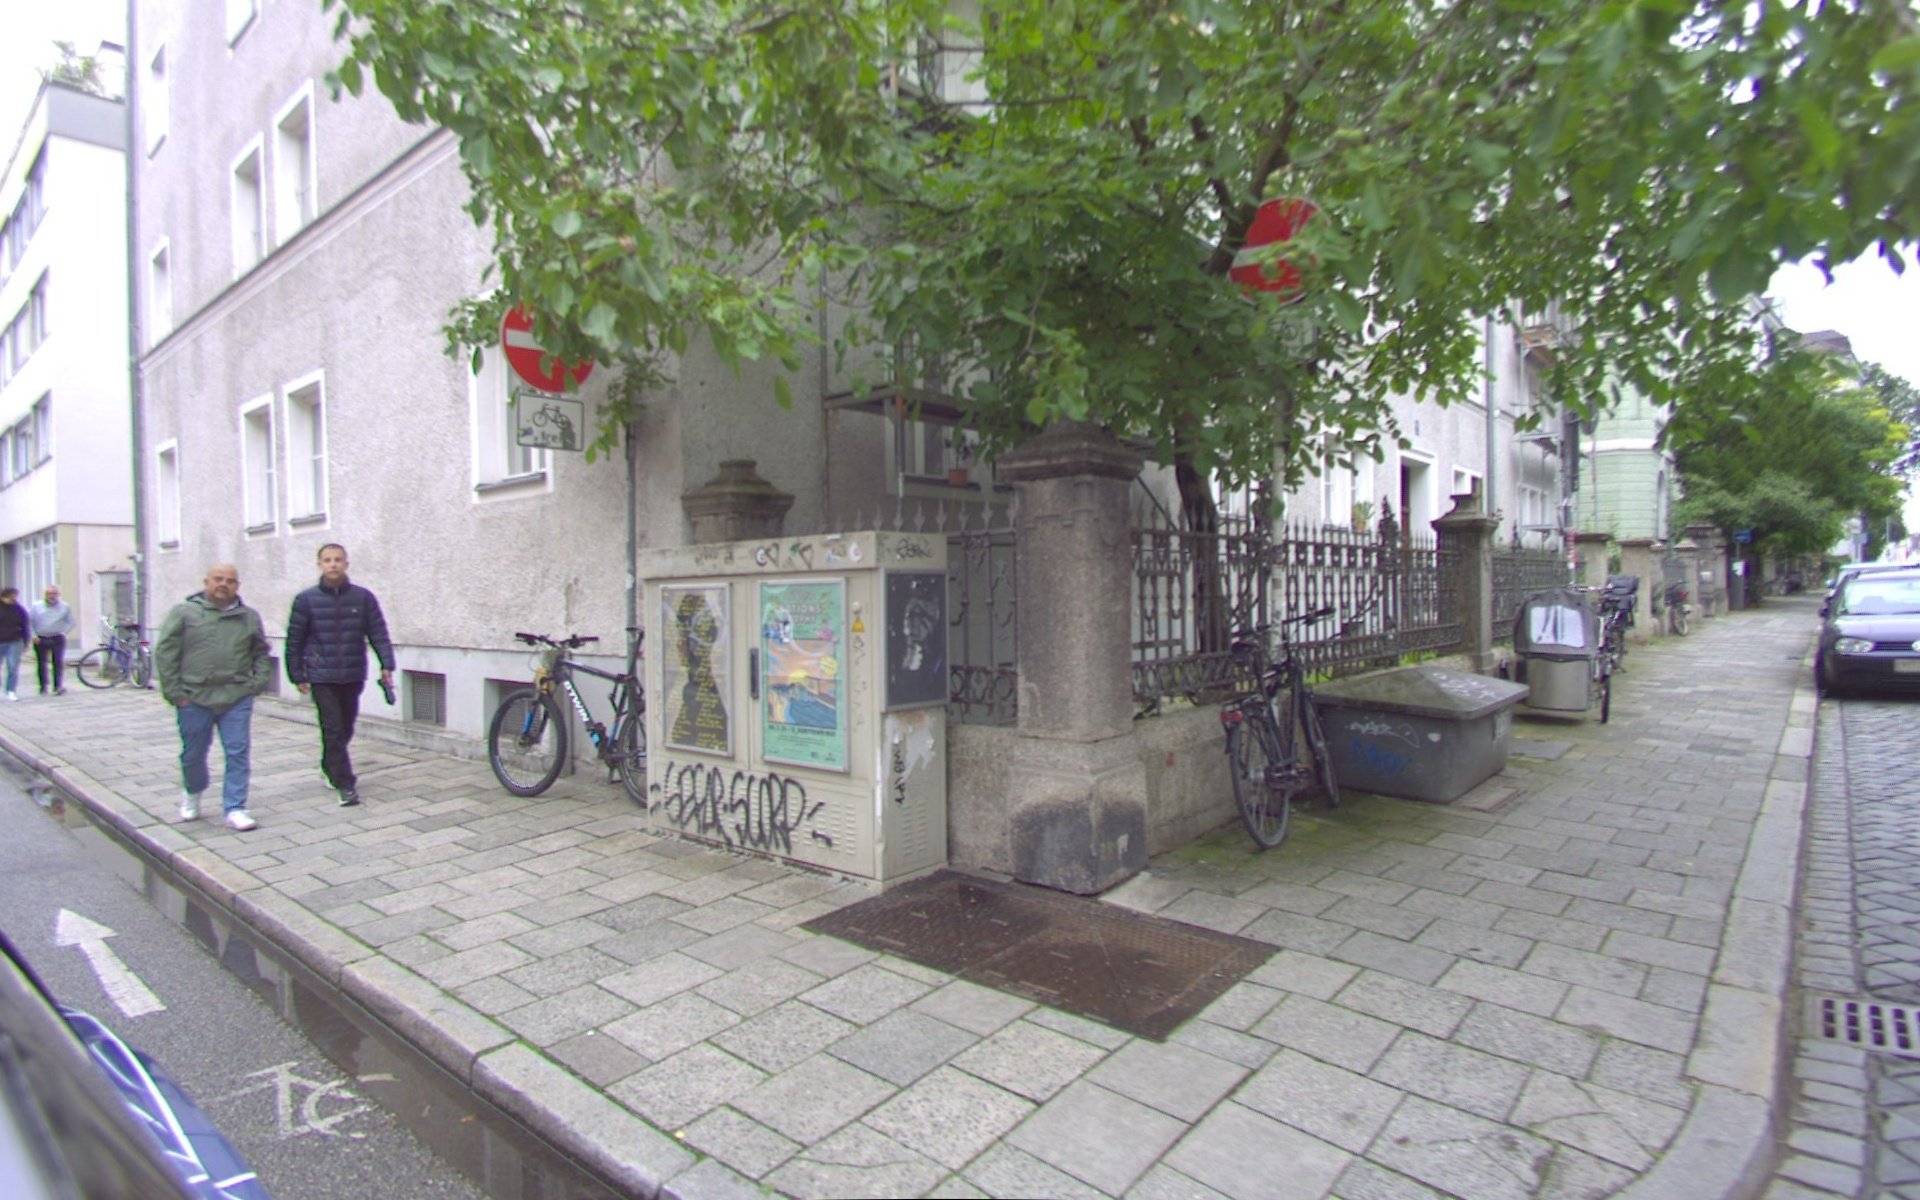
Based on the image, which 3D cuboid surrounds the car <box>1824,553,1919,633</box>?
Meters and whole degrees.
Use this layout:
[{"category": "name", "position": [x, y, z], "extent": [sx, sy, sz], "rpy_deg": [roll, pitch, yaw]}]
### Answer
[{"category": "car", "position": [19.042, -0.182, 21.074], "extent": [1.587, 1.533, 3.609], "rpy_deg": [-1, 1, 41]}]

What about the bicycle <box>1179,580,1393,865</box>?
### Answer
[{"category": "bicycle", "position": [1.779, 0.533, 5.341], "extent": [0.431, 1.270, 1.789], "rpy_deg": [-1, 0, 39]}]

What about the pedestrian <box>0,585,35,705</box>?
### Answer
[{"category": "pedestrian", "position": [-14.465, 0.671, 15.136], "extent": [0.841, 1.740, 0.713], "rpy_deg": [-1, 4, 41]}]

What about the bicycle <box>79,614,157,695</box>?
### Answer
[{"category": "bicycle", "position": [-13.163, 0.829, 15.814], "extent": [1.494, 1.203, 0.445], "rpy_deg": [-1, 1, 32]}]

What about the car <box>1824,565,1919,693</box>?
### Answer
[{"category": "car", "position": [11.506, 0.249, 12.033], "extent": [1.844, 1.336, 4.057], "rpy_deg": [-1, 1, 41]}]

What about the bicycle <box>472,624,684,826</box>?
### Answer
[{"category": "bicycle", "position": [-2.455, 0.722, 6.408], "extent": [1.701, 1.103, 0.426], "rpy_deg": [-1, 2, 39]}]

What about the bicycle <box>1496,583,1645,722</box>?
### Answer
[{"category": "bicycle", "position": [5.840, 0.441, 9.842], "extent": [0.987, 1.165, 2.466], "rpy_deg": [-1, 0, 26]}]

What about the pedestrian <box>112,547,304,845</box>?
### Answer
[{"category": "pedestrian", "position": [-4.672, 0.538, 6.291], "extent": [0.858, 1.690, 0.683], "rpy_deg": [-1, 3, 39]}]

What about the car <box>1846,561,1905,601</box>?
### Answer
[{"category": "car", "position": [35.518, -0.750, 39.327], "extent": [1.520, 1.439, 3.355], "rpy_deg": [-1, 1, 39]}]

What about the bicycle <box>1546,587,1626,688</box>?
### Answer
[{"category": "bicycle", "position": [7.427, 0.405, 11.975], "extent": [0.412, 1.112, 1.828], "rpy_deg": [-1, 0, 44]}]

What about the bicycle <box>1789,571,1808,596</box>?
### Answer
[{"category": "bicycle", "position": [41.411, -0.846, 49.961], "extent": [0.579, 1.191, 2.487], "rpy_deg": [-1, 1, 42]}]

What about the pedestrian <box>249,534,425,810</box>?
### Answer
[{"category": "pedestrian", "position": [-4.285, 0.452, 6.984], "extent": [0.739, 1.776, 0.685], "rpy_deg": [-1, 2, 31]}]

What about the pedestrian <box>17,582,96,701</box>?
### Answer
[{"category": "pedestrian", "position": [-13.996, 0.616, 15.676], "extent": [0.841, 1.740, 0.686], "rpy_deg": [-1, 4, 41]}]

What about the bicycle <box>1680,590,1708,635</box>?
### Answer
[{"category": "bicycle", "position": [15.473, 0.245, 21.349], "extent": [0.405, 0.880, 1.704], "rpy_deg": [-1, 1, 34]}]

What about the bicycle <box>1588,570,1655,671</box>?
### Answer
[{"category": "bicycle", "position": [8.877, 0.252, 13.551], "extent": [0.412, 1.283, 1.828], "rpy_deg": [-1, 0, 44]}]
